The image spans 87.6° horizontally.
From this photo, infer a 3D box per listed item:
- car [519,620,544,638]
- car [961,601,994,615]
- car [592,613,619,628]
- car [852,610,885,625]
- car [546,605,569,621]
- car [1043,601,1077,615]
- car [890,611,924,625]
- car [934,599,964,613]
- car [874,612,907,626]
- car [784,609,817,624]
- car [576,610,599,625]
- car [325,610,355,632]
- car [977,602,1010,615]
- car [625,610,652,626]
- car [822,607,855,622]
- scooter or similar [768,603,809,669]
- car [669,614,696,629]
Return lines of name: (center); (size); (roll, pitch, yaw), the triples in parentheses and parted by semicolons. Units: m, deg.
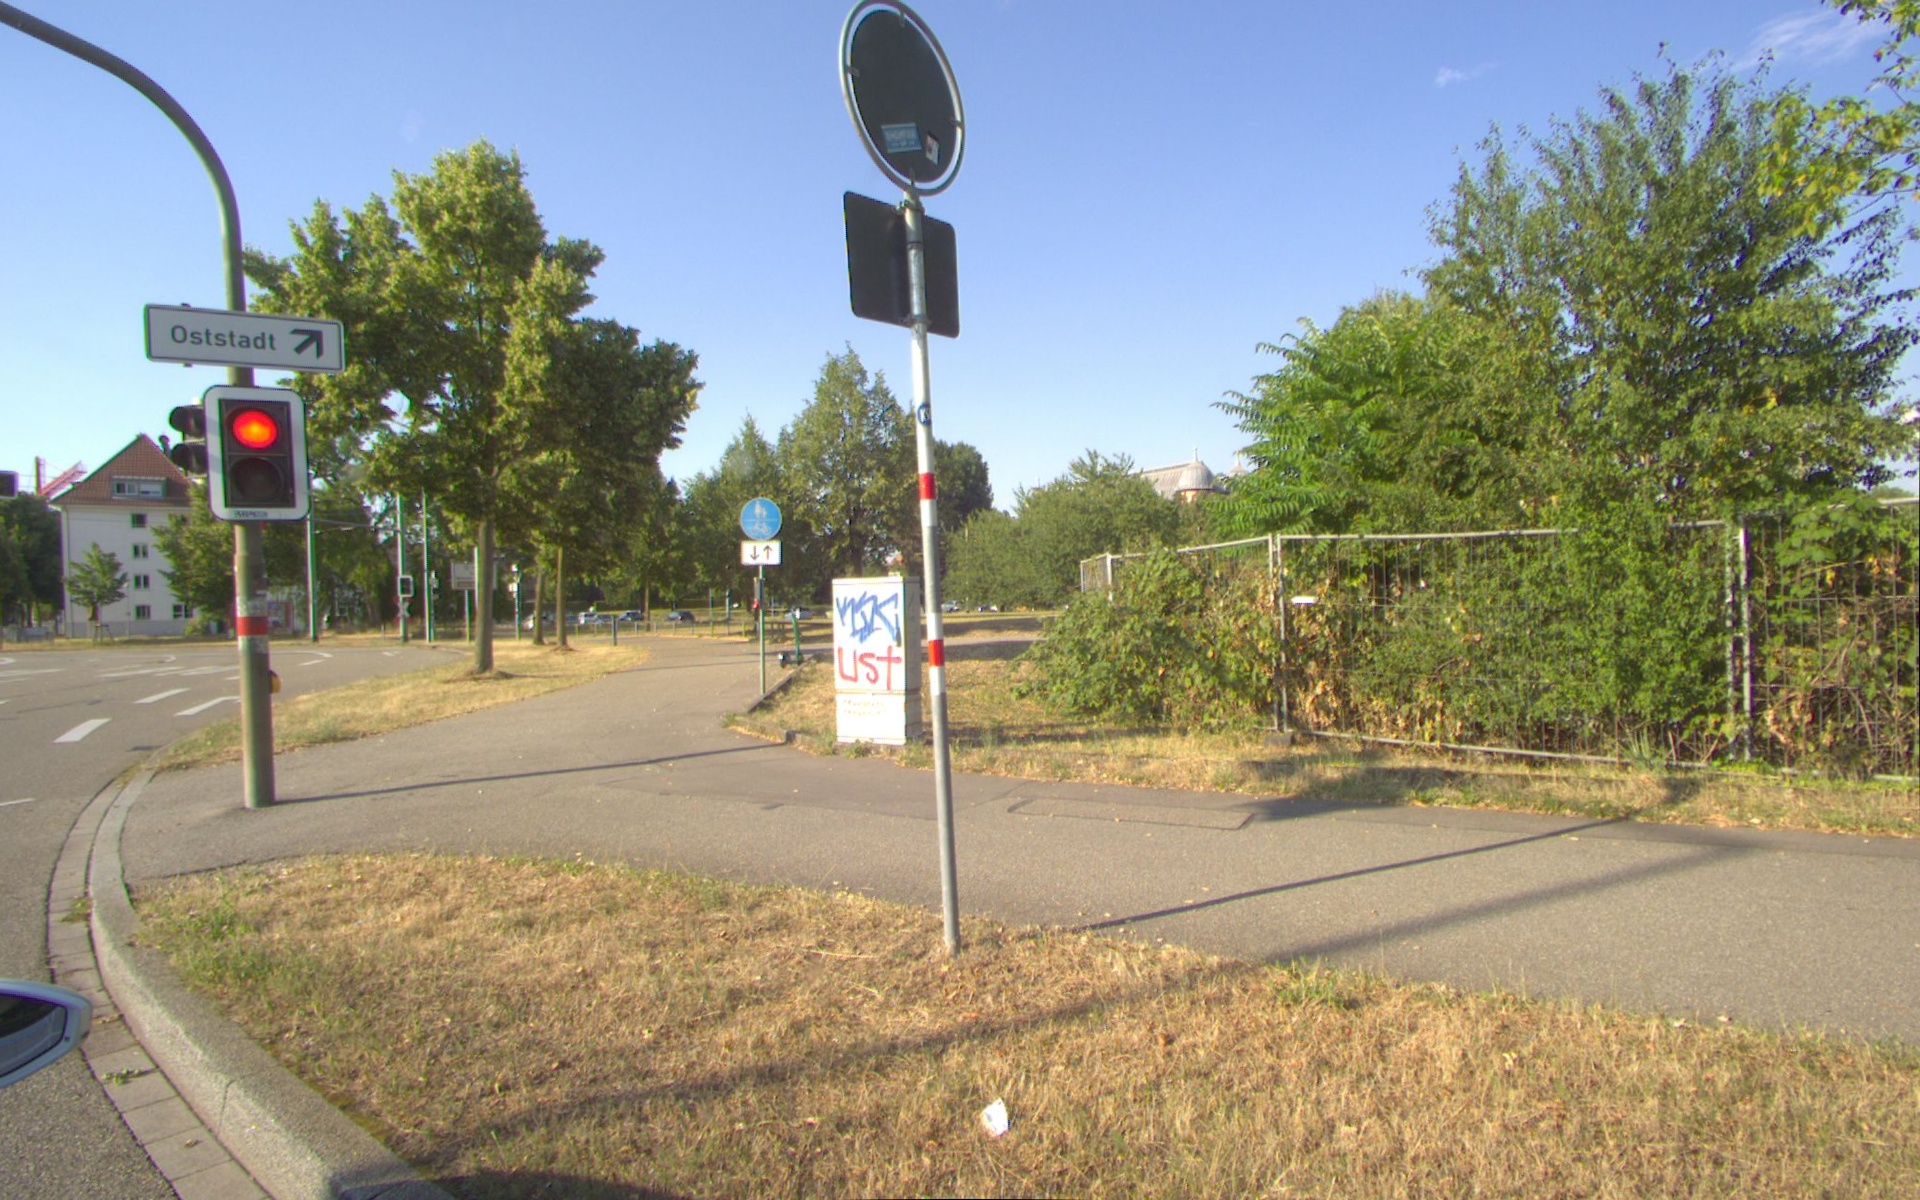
car: (-36.956, 2.484, 86.385); (1.583, 1.420, 3.950); (-1, 0, -29)
car: (1.930, 0.878, 111.579); (1.803, 1.421, 3.976); (-1, -1, -33)
car: (-31.639, 1.830, 89.327); (1.583, 1.237, 3.950); (-1, -1, -29)
car: (-9.557, 1.855, 104.200); (1.803, 1.421, 3.976); (-2, 0, -33)
car: (-39.396, 1.290, 97.943); (1.583, 1.420, 3.950); (-1, 0, -29)
car: (11.817, 0.995, 118.425); (1.803, 1.589, 3.976); (-1, 0, -33)
car: (-5.678, 1.881, 106.791); (1.803, 1.421, 3.976); (-1, -1, -33)
car: (-1.375, 0.758, 123.199); (1.803, 1.694, 3.976); (-1, 0, -33)
car: (-7.359, 1.971, 105.589); (1.803, 1.421, 3.976); (-1, -1, -33)
car: (-15.975, 1.662, 100.115); (1.803, 1.421, 3.976); (-1, -1, -33)
car: (-37.124, 1.744, 99.730); (1.583, 1.420, 3.950); (-1, 0, -29)
car: (-48.229, 1.625, 77.929); (1.751, 1.639, 3.950); (-1, 0, -29)
car: (3.743, 0.978, 113.450); (1.803, 1.421, 3.976); (-1, -1, -33)
car: (-29.167, 1.656, 90.800); (1.583, 1.420, 3.950); (-1, 0, -29)
car: (-12.563, 1.520, 103.104); (1.803, 1.421, 3.976); (-1, -1, -33)
scooter or similar: (-3.293, 0.685, 19.304); (0.336, 1.175, 1.169); (-4, 2, 8)
car: (-25.755, 2.032, 92.858); (1.583, 1.327, 3.950); (-1, -1, -29)
